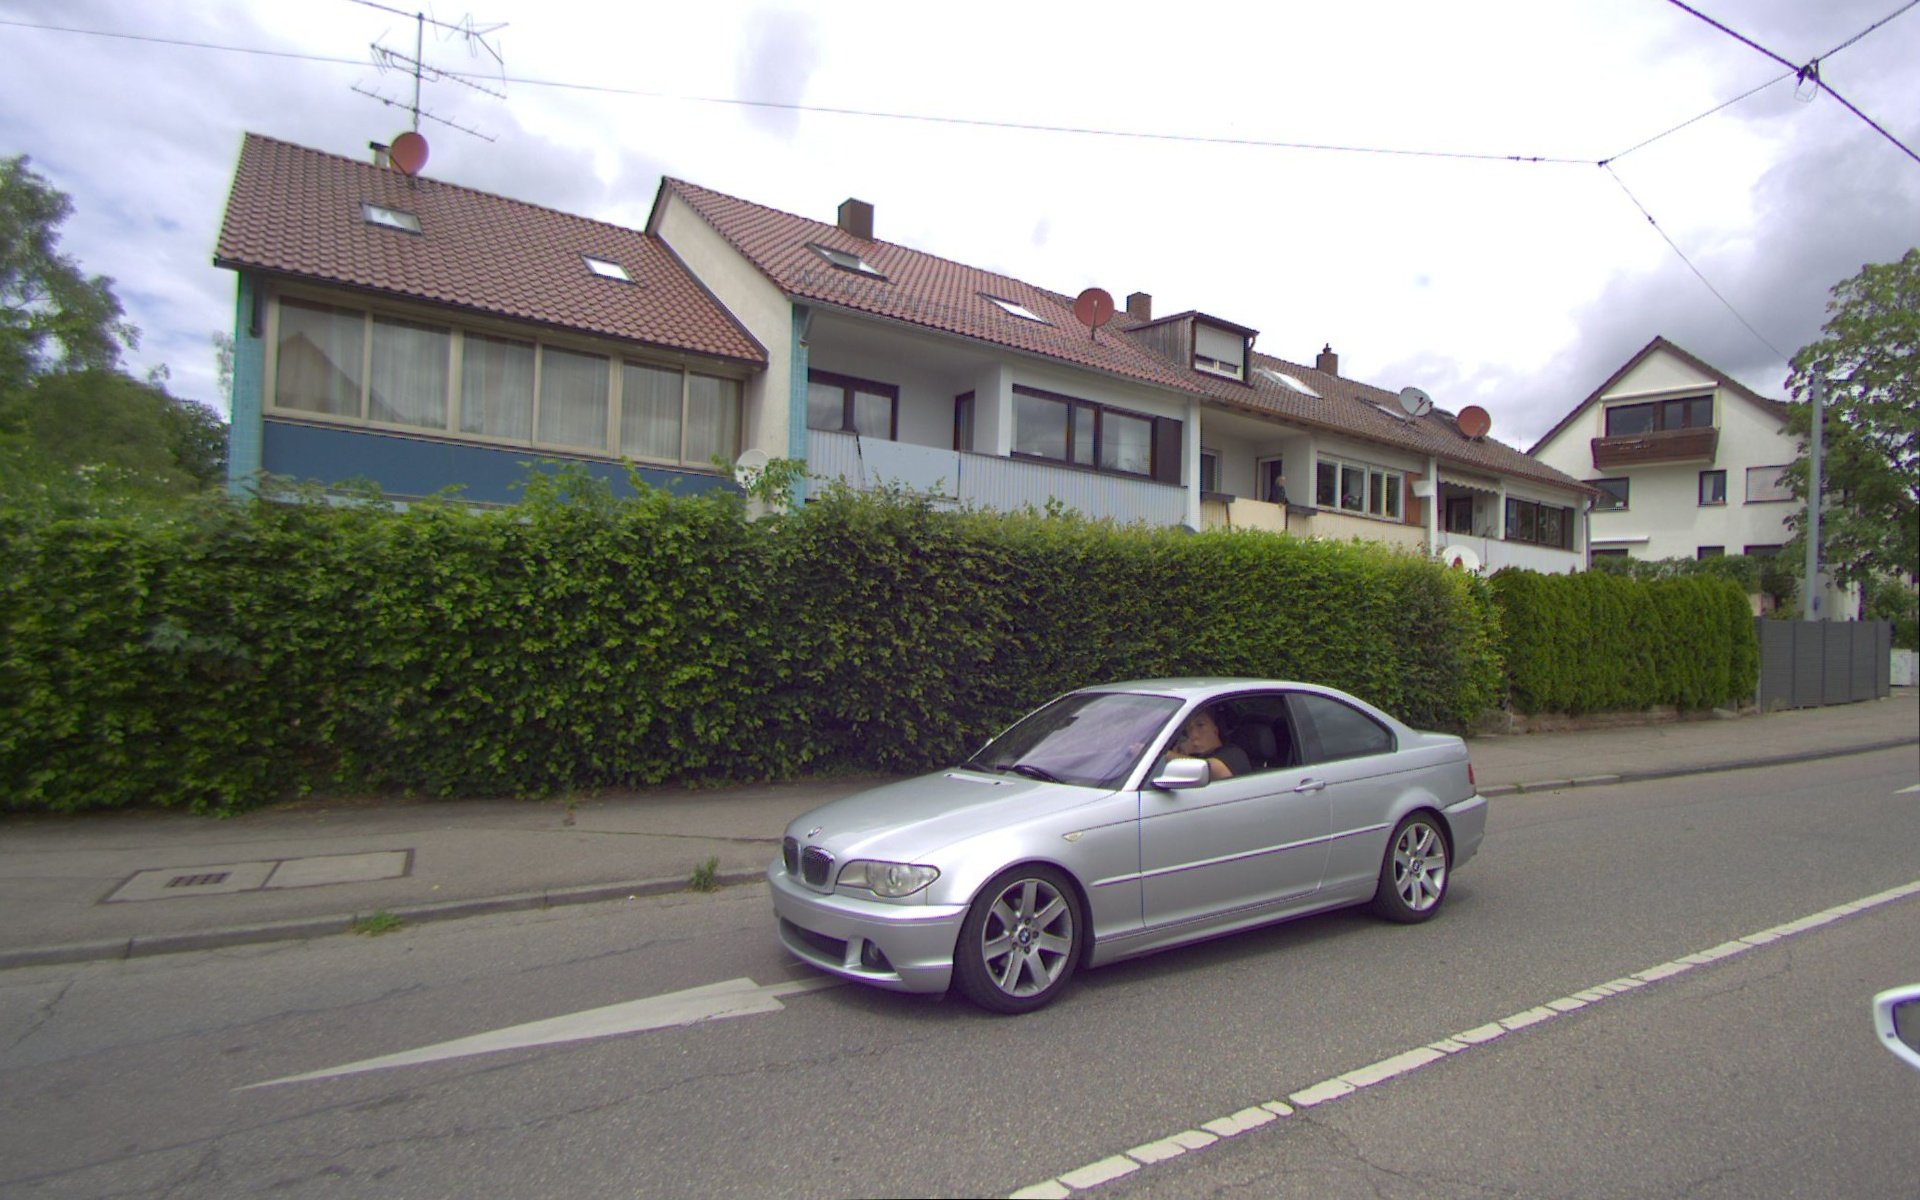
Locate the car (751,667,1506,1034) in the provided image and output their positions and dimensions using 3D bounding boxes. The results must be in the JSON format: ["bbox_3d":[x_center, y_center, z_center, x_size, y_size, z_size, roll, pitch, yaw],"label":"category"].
[{"bbox_3d":[1.051,1.099,5.620,4.038,1.371,1.705,2,-7,-32],"label":"car"}]
